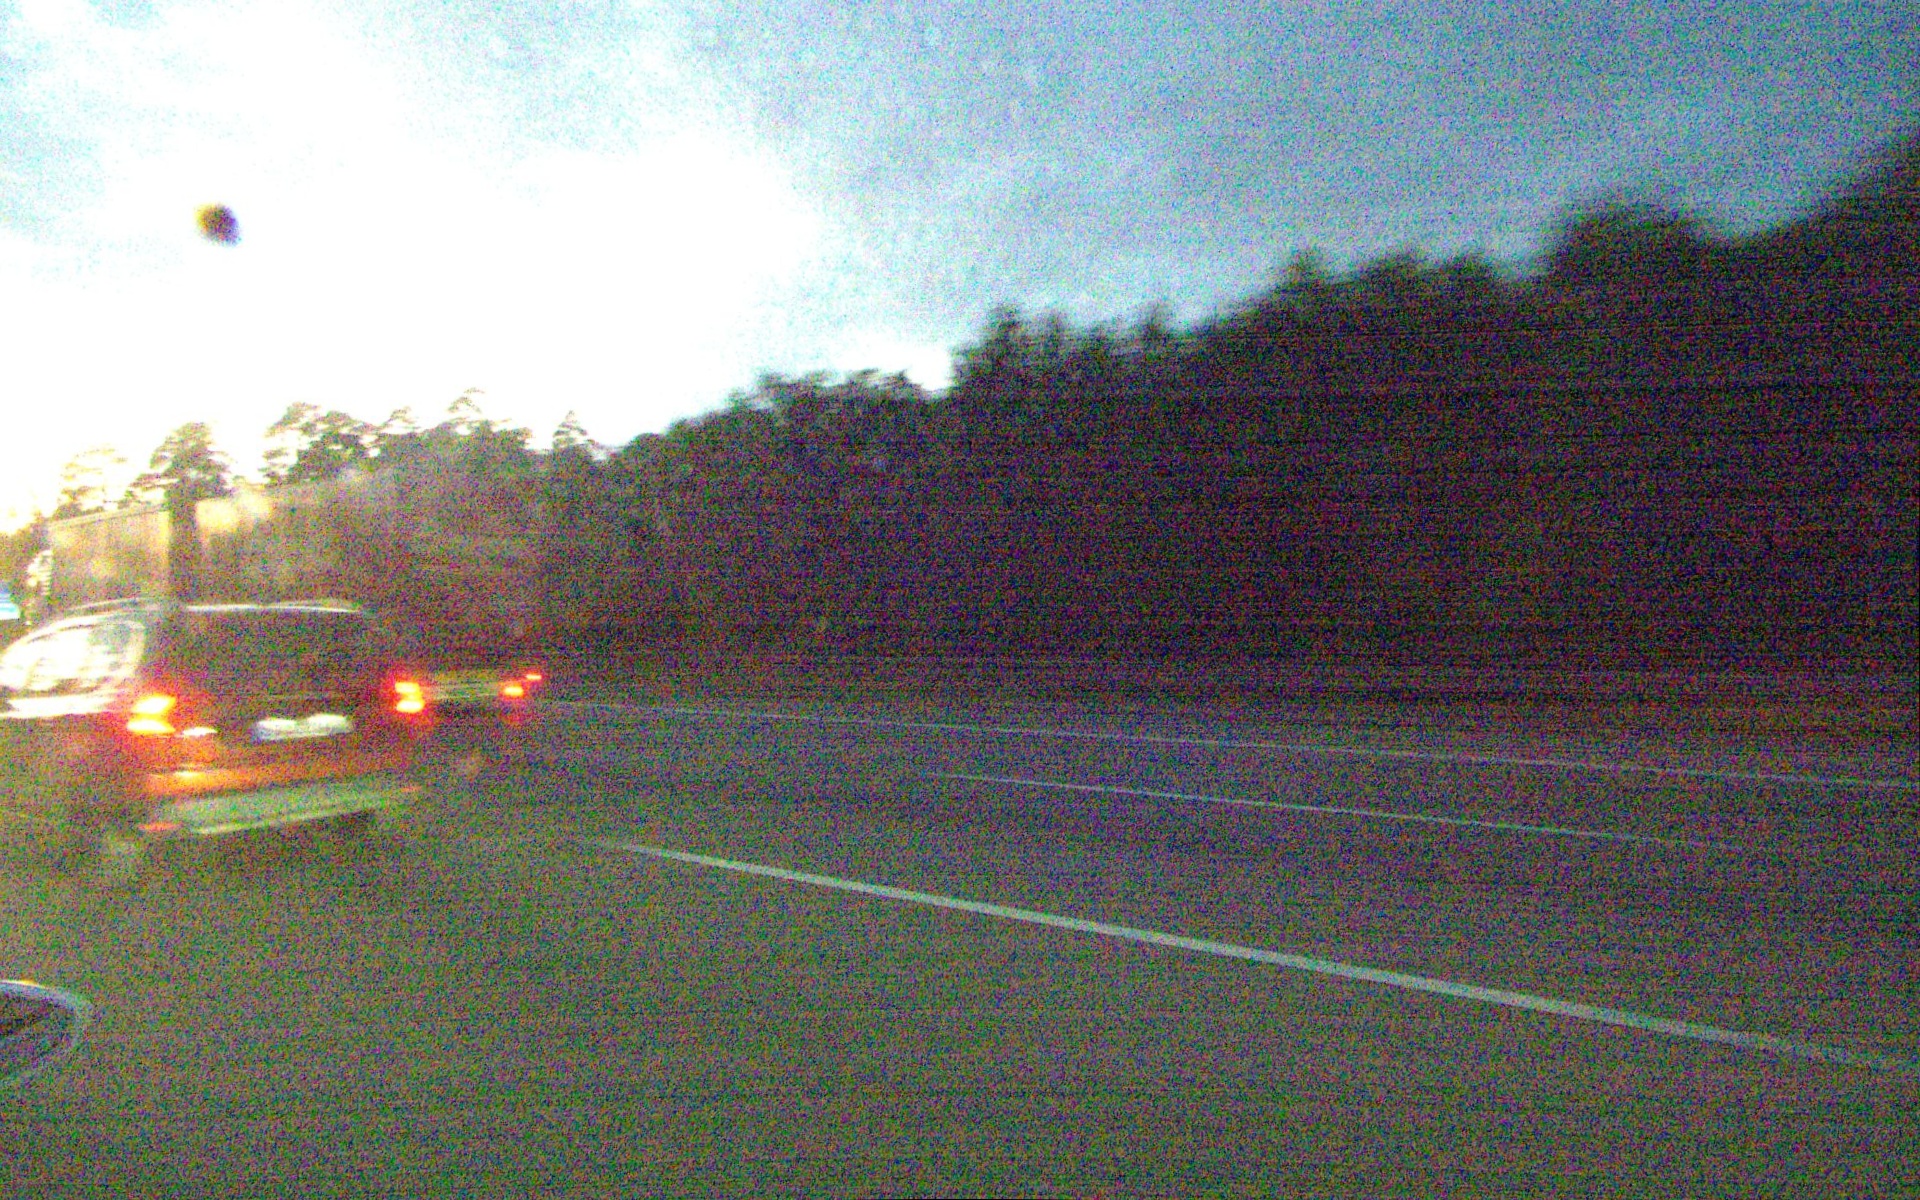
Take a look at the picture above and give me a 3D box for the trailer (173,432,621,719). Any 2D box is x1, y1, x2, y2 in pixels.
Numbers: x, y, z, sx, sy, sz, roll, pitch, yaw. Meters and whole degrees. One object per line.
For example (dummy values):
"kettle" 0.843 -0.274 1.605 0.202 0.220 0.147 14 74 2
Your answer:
"trailer" -10.795 -0.234 18.550 10.213 4.153 2.901 -1 -1 33

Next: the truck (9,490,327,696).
"truck" -19.511 -0.014 24.314 10.680 4.153 2.879 -1 -1 33

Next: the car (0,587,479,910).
"car" -5.857 0.808 7.287 4.979 1.665 1.899 -1 -1 32
